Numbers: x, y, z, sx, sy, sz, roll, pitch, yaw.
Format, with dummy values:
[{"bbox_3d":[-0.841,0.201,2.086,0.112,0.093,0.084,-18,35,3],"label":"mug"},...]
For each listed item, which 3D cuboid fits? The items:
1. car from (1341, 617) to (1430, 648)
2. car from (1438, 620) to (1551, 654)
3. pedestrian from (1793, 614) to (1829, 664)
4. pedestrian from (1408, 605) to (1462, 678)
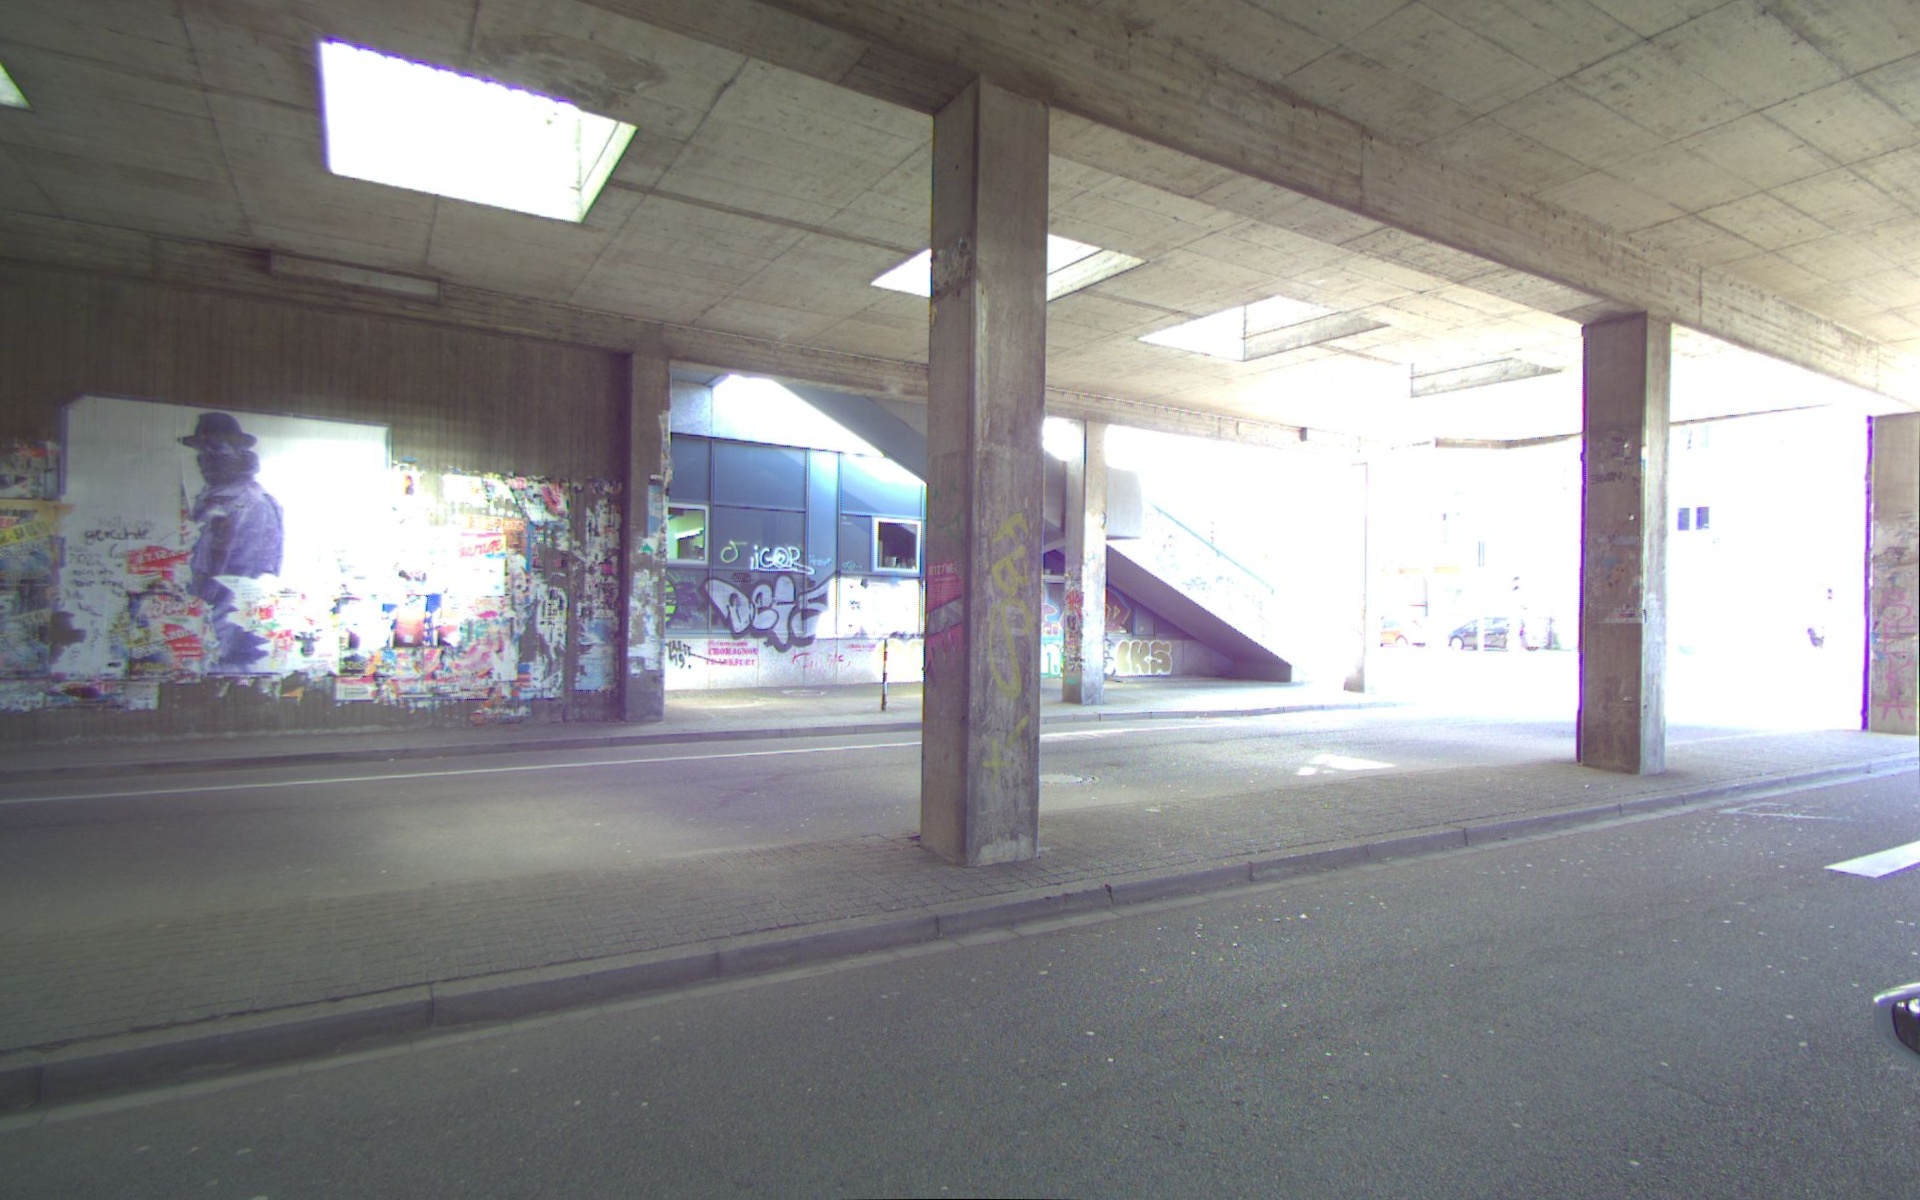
[{"bbox_3d":[22.367,1.704,52.900,1.905,1.428,3.965,2,0,-32],"label":"car"},{"bbox_3d":[25.293,1.735,47.691,1.905,1.428,4.382,2,0,-32],"label":"car"},{"bbox_3d":[28.571,1.302,33.724,0.732,1.659,0.669,2,0,-30],"label":"pedestrian"},{"bbox_3d":[11.984,1.033,25.359,0.784,1.785,0.925,2,0,-28],"label":"pedestrian"}]
